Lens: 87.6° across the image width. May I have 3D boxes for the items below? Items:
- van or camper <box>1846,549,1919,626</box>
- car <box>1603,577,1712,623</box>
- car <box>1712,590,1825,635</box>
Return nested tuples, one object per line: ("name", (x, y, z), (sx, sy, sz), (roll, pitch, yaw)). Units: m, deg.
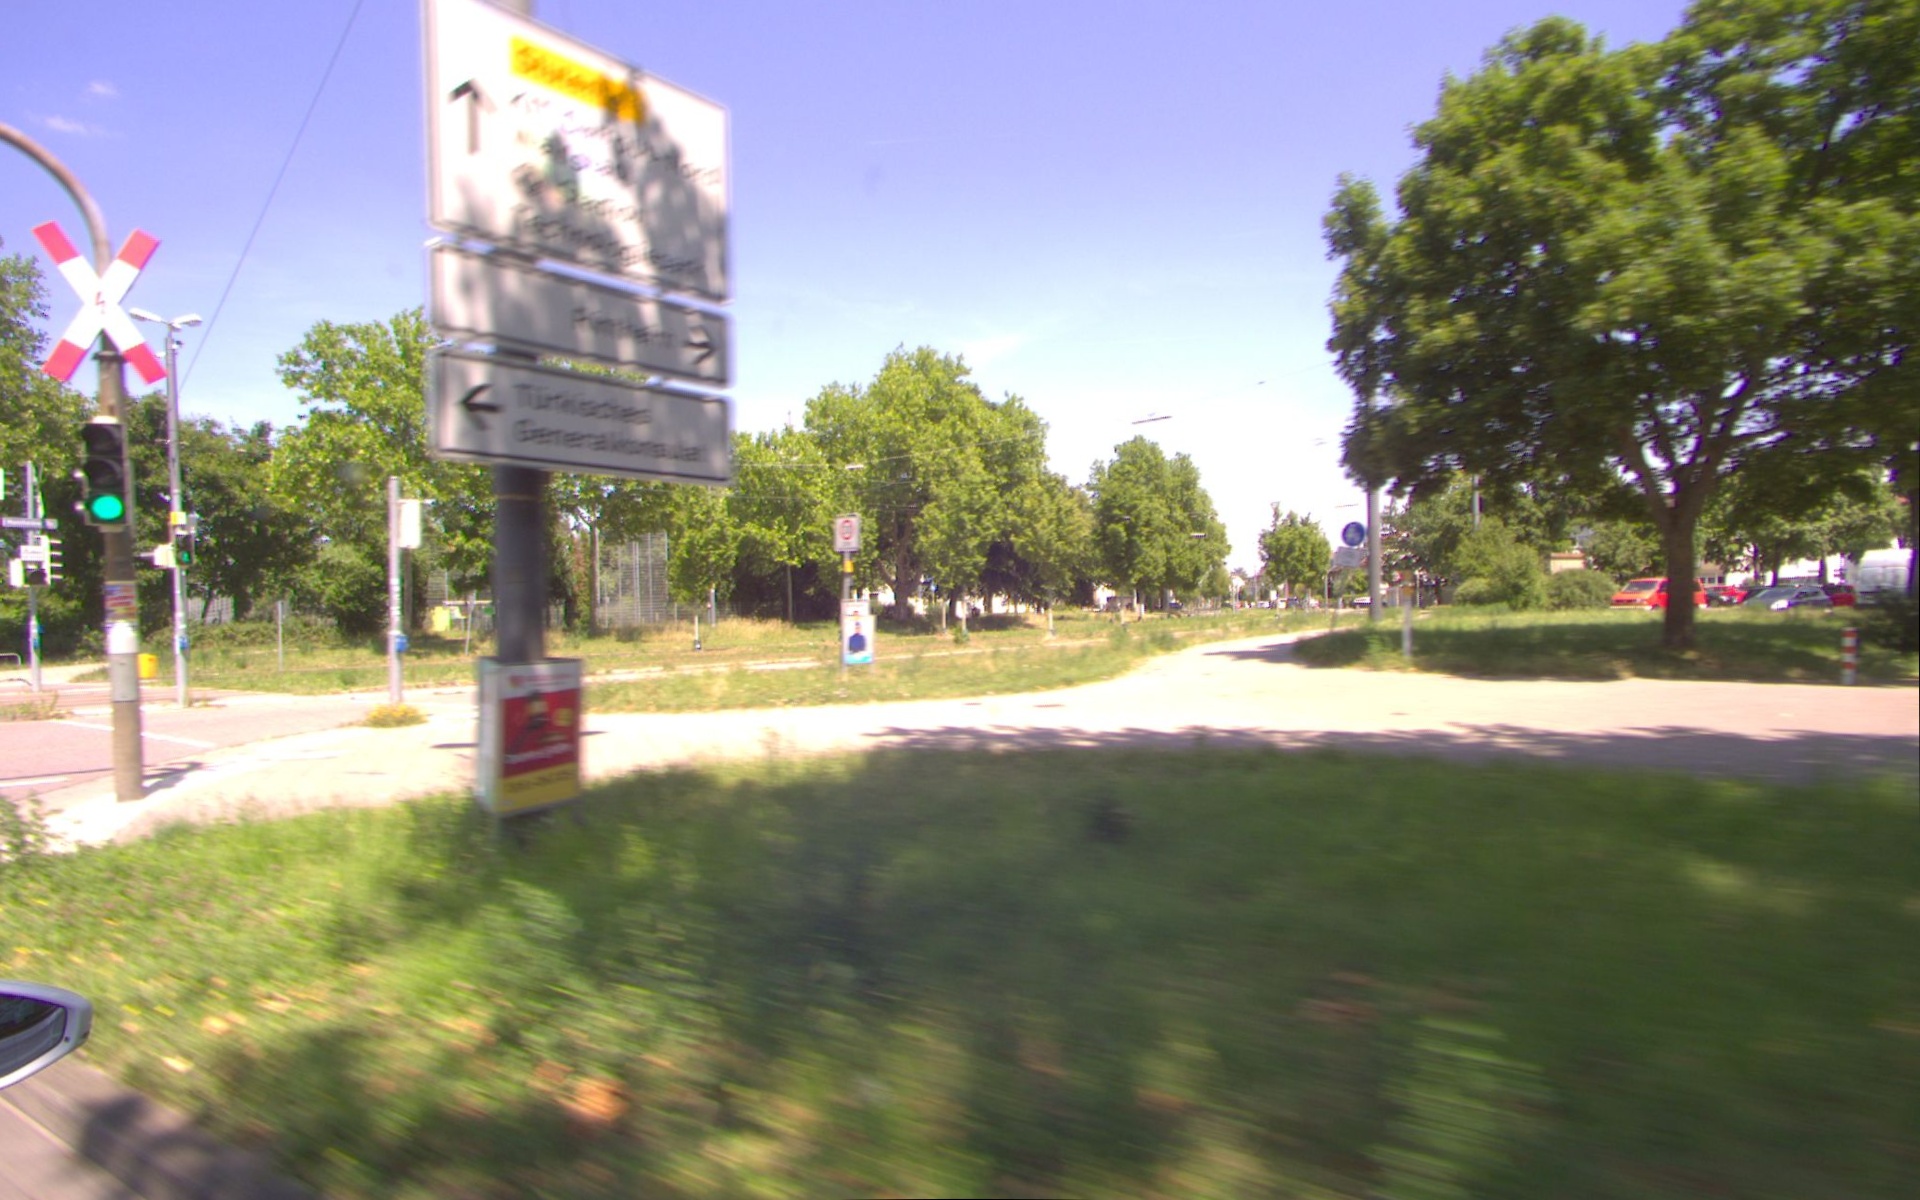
("van or camper", (36.612, -0.462, 38.178), (5.043, 2.787, 2.197), (-1, 0, -21))
("car", (32.876, 0.001, 47.190), (4.586, 2.029, 2.068), (-1, 0, -23))
("car", (33.344, 0.522, 41.300), (4.003, 1.740, 1.951), (-1, 0, -22))
